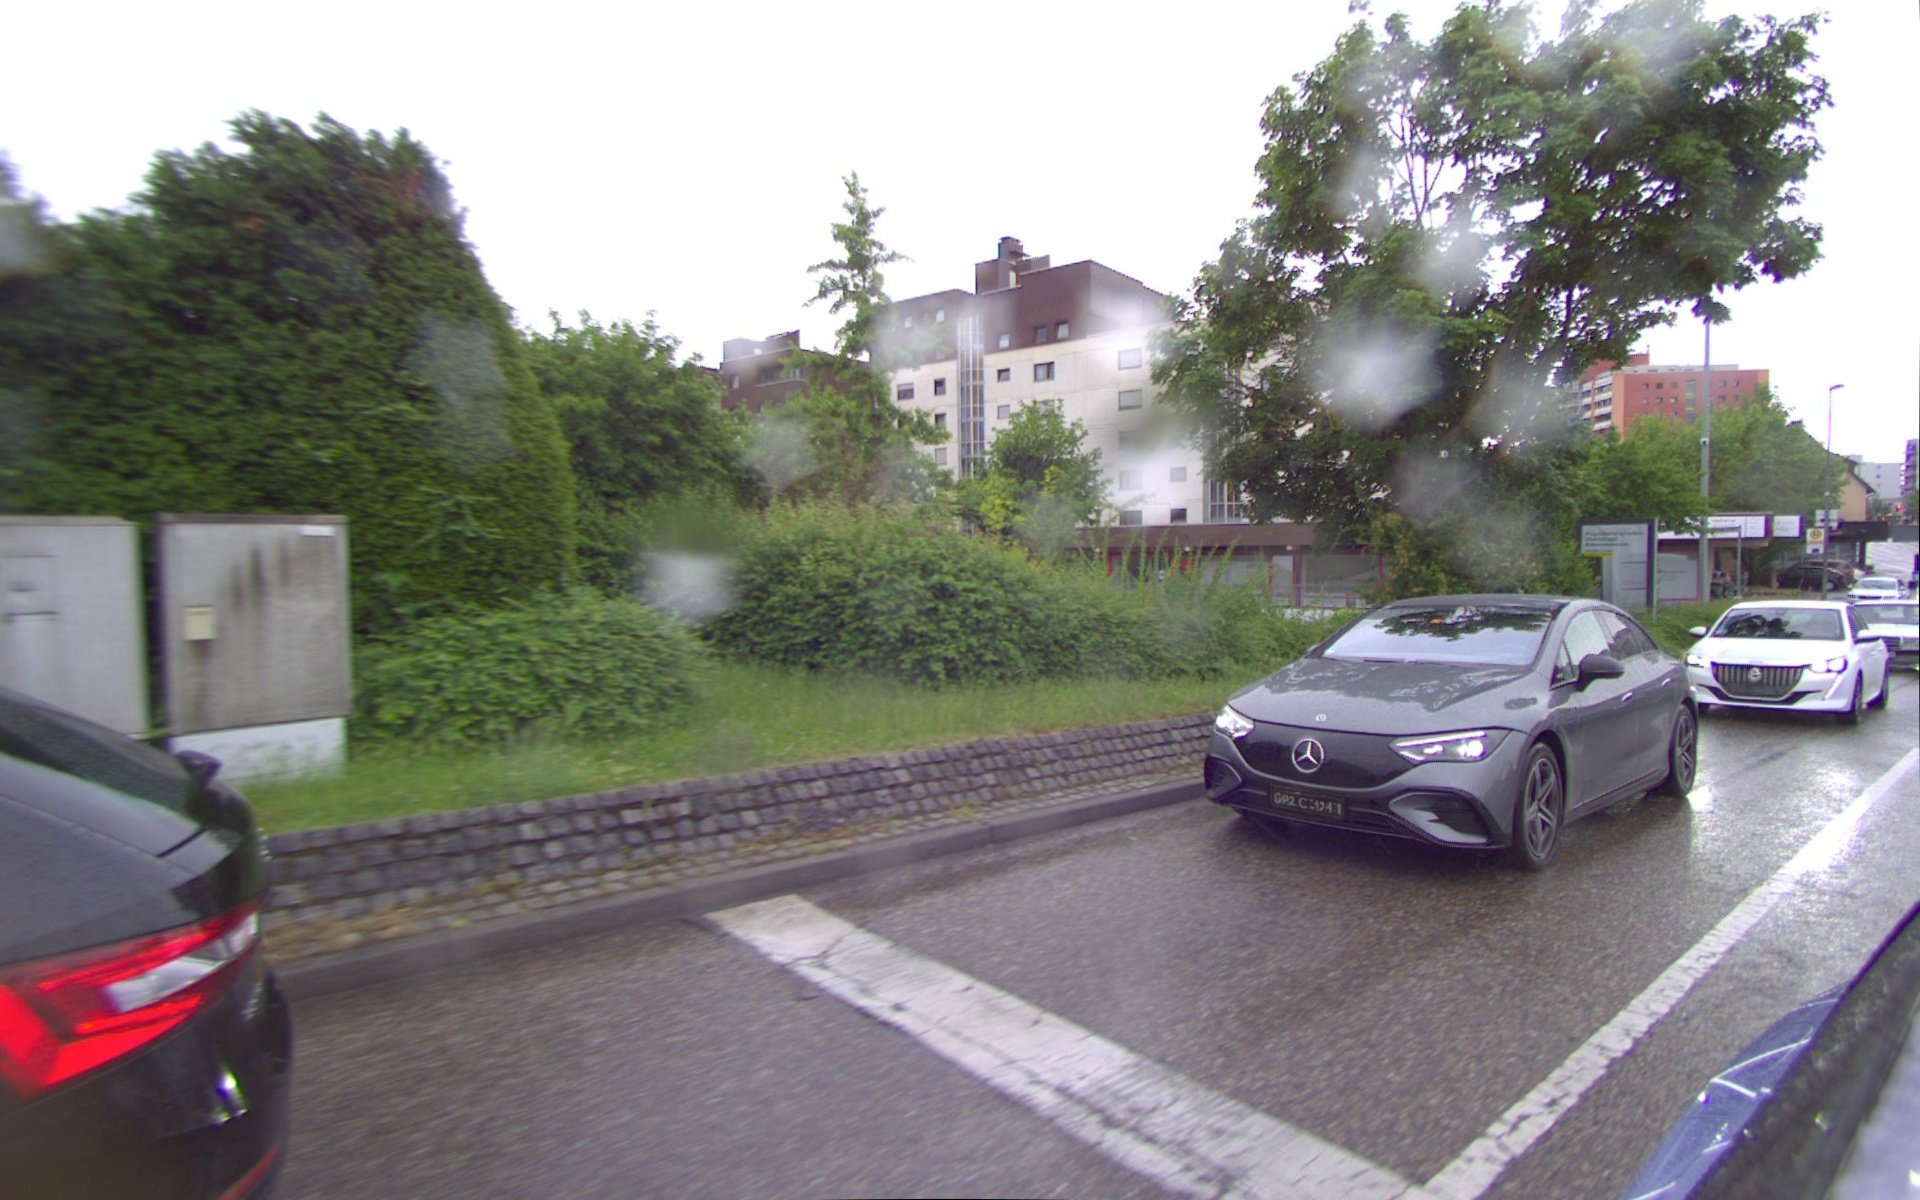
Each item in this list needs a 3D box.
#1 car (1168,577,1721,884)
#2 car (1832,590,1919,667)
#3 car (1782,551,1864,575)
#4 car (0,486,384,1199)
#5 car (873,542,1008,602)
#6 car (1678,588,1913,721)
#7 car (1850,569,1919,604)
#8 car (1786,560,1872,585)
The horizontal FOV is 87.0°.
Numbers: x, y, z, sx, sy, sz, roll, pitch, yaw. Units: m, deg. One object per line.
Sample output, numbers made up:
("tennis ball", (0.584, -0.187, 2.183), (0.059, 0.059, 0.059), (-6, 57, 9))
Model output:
("car", (3.573, 0.598, 7.027), (4.472, 1.462, 1.834), (-1, 0, -41))
("car", (19.146, 0.528, 20.516), (3.670, 1.394, 1.716), (-1, 0, -41))
("car", (55.194, -2.359, 64.812), (3.981, 1.438, 1.678), (0, 1, 40))
("car", (-3.226, 0.675, 0.809), (4.529, 1.526, 1.957), (-1, -1, -41))
("car", (-0.679, -1.226, 43.213), (2.774, 2.300, 6.700), (3, 3, 29))
("car", (10.924, 0.593, 13.142), (3.966, 1.415, 1.716), (-1, 0, -41))
("car", (40.973, -0.626, 44.663), (3.737, 1.367, 1.998), (-1, 4, -41))
("car", (53.844, -1.668, 62.785), (3.981, 1.438, 1.972), (0, 1, 40))
